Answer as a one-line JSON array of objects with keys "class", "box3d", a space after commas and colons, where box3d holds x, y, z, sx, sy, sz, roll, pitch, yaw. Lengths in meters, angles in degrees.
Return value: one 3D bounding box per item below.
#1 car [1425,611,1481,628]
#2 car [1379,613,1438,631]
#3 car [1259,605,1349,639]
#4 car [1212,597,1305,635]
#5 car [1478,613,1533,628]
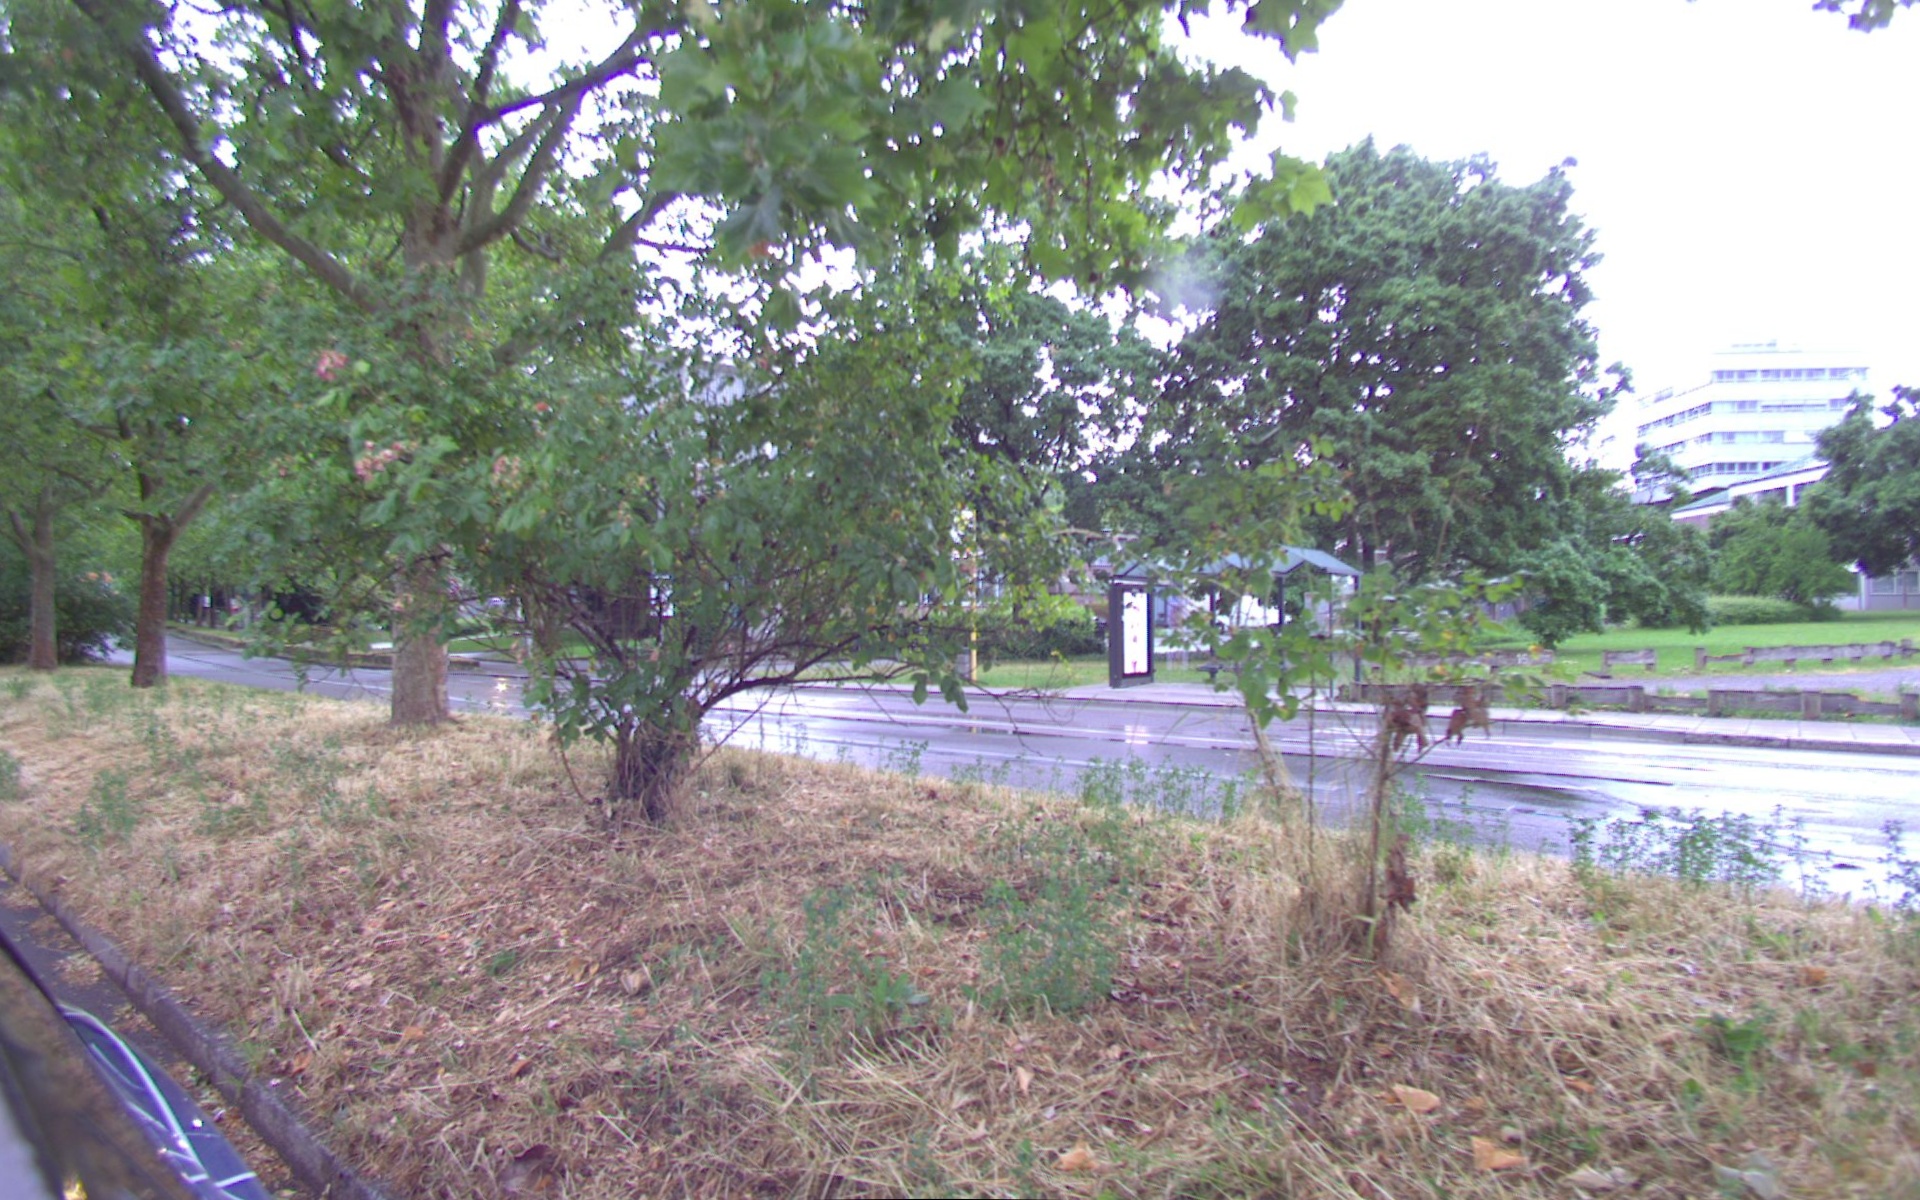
[{"class": "car", "box3d": [37.716, 1.466, 77.456, 1.566, 1.151, 3.564, -1, 1, -37]}, {"class": "car", "box3d": [32.240, 1.573, 72.736, 1.566, 1.151, 3.564, -1, 1, -37]}, {"class": "car", "box3d": [22.091, 1.353, 65.161, 2.251, 2.037, 5.091, -1, 1, -36]}, {"class": "car", "box3d": [18.501, 0.969, 62.949, 2.080, 2.229, 5.482, -1, 1, -33]}, {"class": "car", "box3d": [43.950, 1.645, 81.581, 1.566, 1.151, 3.564, -1, 1, -37]}]
